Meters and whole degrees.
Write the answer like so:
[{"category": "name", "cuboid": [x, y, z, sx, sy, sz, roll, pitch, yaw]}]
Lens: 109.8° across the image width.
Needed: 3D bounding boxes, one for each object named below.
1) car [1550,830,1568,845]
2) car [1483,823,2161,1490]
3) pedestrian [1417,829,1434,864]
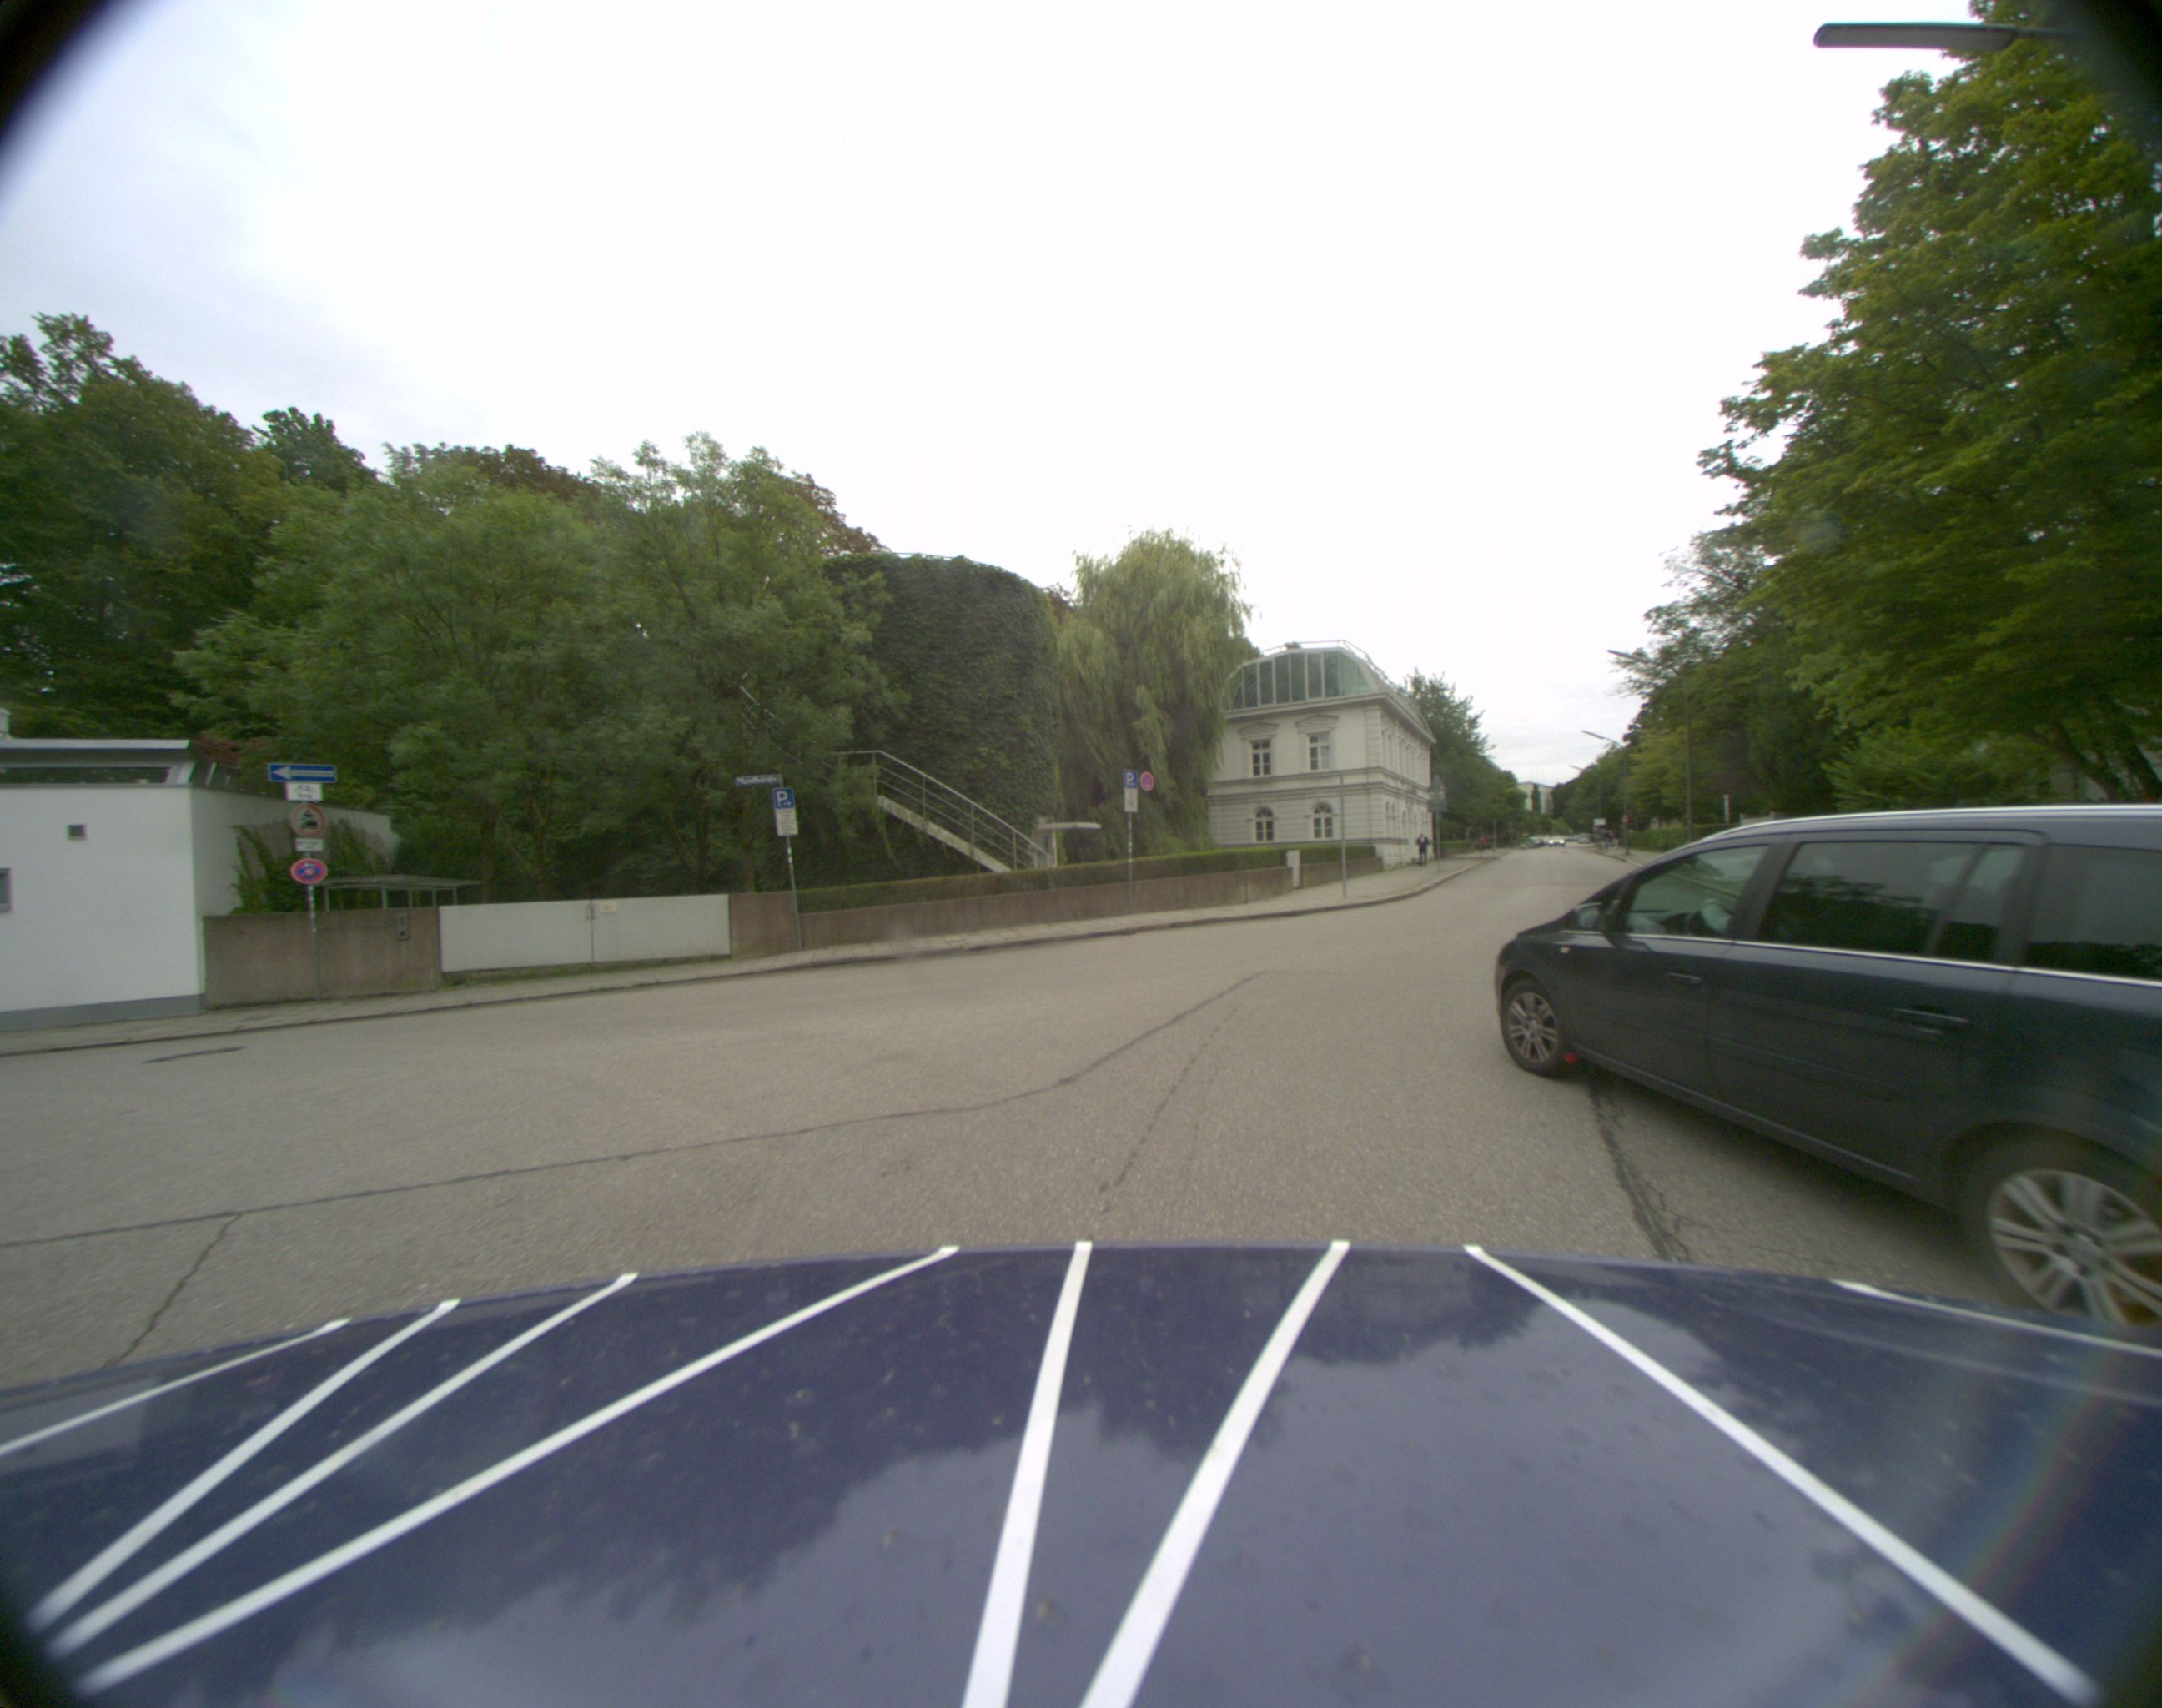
[{"category": "car", "cuboid": [67.304, -2.311, 106.984, 1.995, 2.002, 4.007, -2, 1, 31]}, {"category": "car", "cuboid": [3.789, 0.726, 3.248, 1.998, 1.683, 4.334, -1, 1, 3]}, {"category": "pedestrian", "cuboid": [17.332, -0.384, 38.234, 0.678, 1.696, 0.769, 0, 2, 33]}]
